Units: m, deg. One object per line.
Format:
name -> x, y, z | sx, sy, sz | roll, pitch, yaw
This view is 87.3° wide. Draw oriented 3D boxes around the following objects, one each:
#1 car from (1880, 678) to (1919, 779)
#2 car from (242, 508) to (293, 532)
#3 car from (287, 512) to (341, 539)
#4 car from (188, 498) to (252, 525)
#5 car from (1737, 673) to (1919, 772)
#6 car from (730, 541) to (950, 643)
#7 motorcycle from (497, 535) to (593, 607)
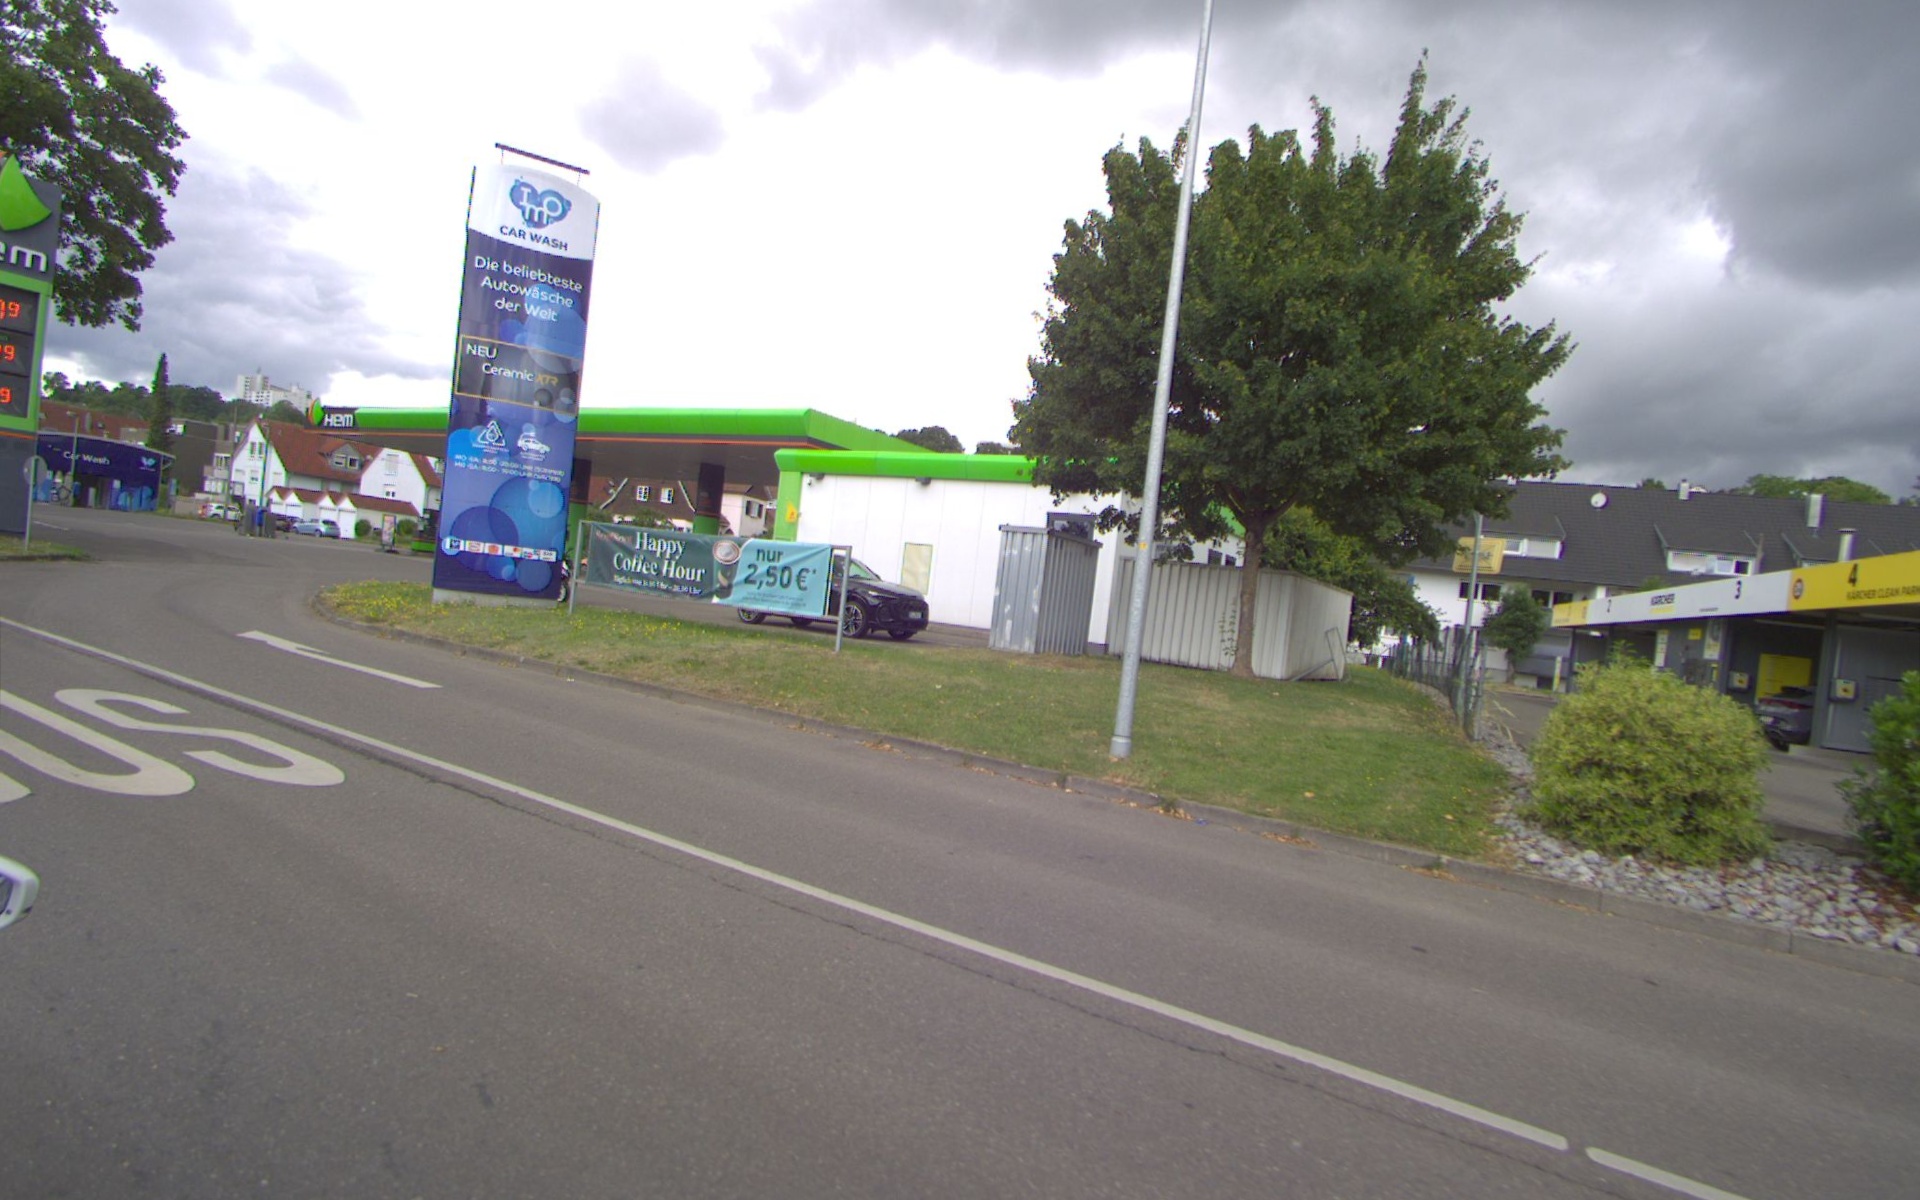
car -> 17.964, 2.395, 16.696 | 3.463, 1.660, 1.632 | 7, 1, 15
car -> -55.955, -6.444, 81.275 | 3.354, 1.410, 1.587 | 7, -1, 20
car -> -50.956, -5.884, 79.384 | 3.667, 1.618, 1.539 | 7, -1, 20
car -> -67.574, -8.083, 91.944 | 1.747, 1.703, 4.226 | 7, -2, 29
car -> 19.065, 2.610, 21.078 | 3.857, 1.594, 1.838 | 7, 1, 19
car -> -2.541, -0.174, 21.030 | 4.266, 1.697, 1.821 | 6, 2, 32
motorcycle -> -9.135, -0.634, 22.124 | 1.957, 1.348, 0.856 | 7, 1, 32
